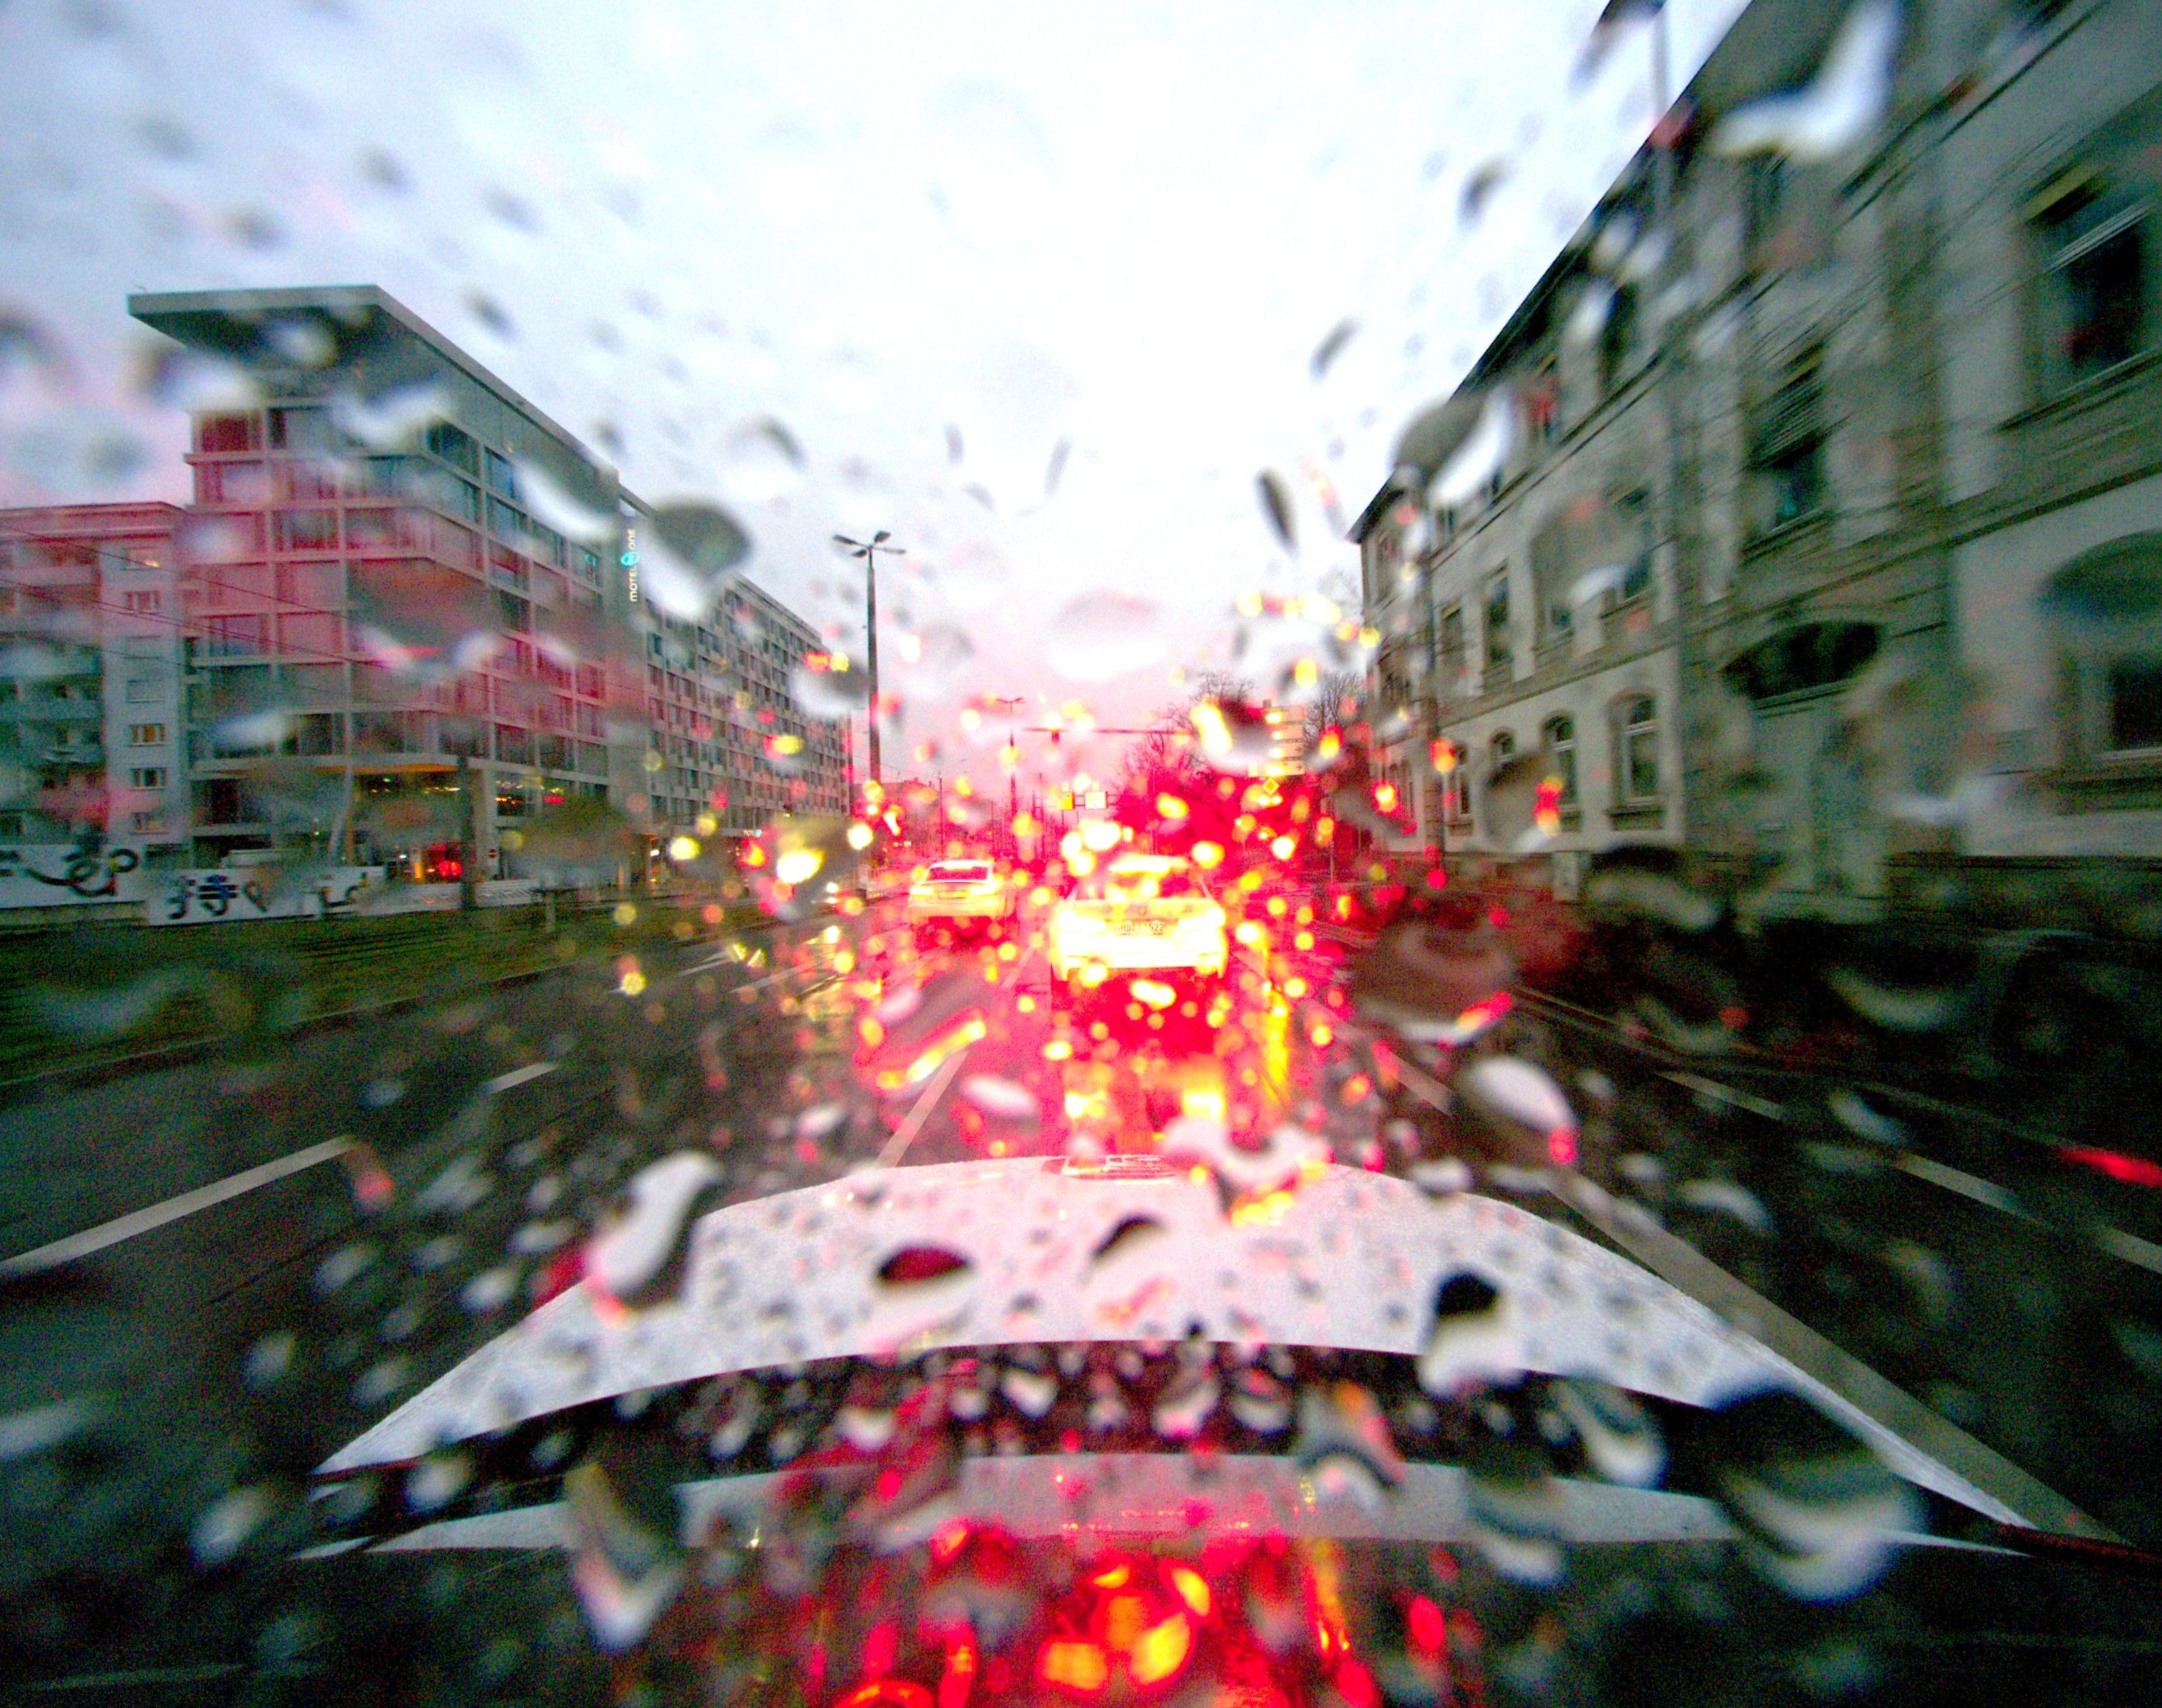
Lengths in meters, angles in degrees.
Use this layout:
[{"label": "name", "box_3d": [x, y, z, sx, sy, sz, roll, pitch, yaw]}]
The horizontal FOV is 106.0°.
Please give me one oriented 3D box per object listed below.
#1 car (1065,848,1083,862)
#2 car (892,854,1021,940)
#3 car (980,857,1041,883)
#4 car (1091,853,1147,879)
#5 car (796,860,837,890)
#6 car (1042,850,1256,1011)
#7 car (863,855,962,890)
[{"label": "car", "box_3d": [-0.787, 0.118, 92.705, 1.987, 1.456, 4.367, -1, 0, -1]}, {"label": "car", "box_3d": [-2.399, 0.779, 16.804, 1.987, 1.456, 4.367, -1, 0, -1]}, {"label": "car", "box_3d": [-4.455, 1.000, 51.730, 1.825, 1.609, 3.970, -1, -1, 32]}, {"label": "car", "box_3d": [2.390, 0.746, 52.672, 1.854, 1.609, 3.908, 0, -1, -29]}, {"label": "car", "box_3d": [-16.231, 1.275, 49.821, 1.904, 1.720, 4.673, -1, -1, -24]}, {"label": "car", "box_3d": [0.626, 0.705, 9.831, 1.987, 1.456, 4.367, -1, 0, -1]}, {"label": "car", "box_3d": [-8.785, 0.983, 42.449, 4.661, 1.720, 1.876, -1, -1, 15]}]
